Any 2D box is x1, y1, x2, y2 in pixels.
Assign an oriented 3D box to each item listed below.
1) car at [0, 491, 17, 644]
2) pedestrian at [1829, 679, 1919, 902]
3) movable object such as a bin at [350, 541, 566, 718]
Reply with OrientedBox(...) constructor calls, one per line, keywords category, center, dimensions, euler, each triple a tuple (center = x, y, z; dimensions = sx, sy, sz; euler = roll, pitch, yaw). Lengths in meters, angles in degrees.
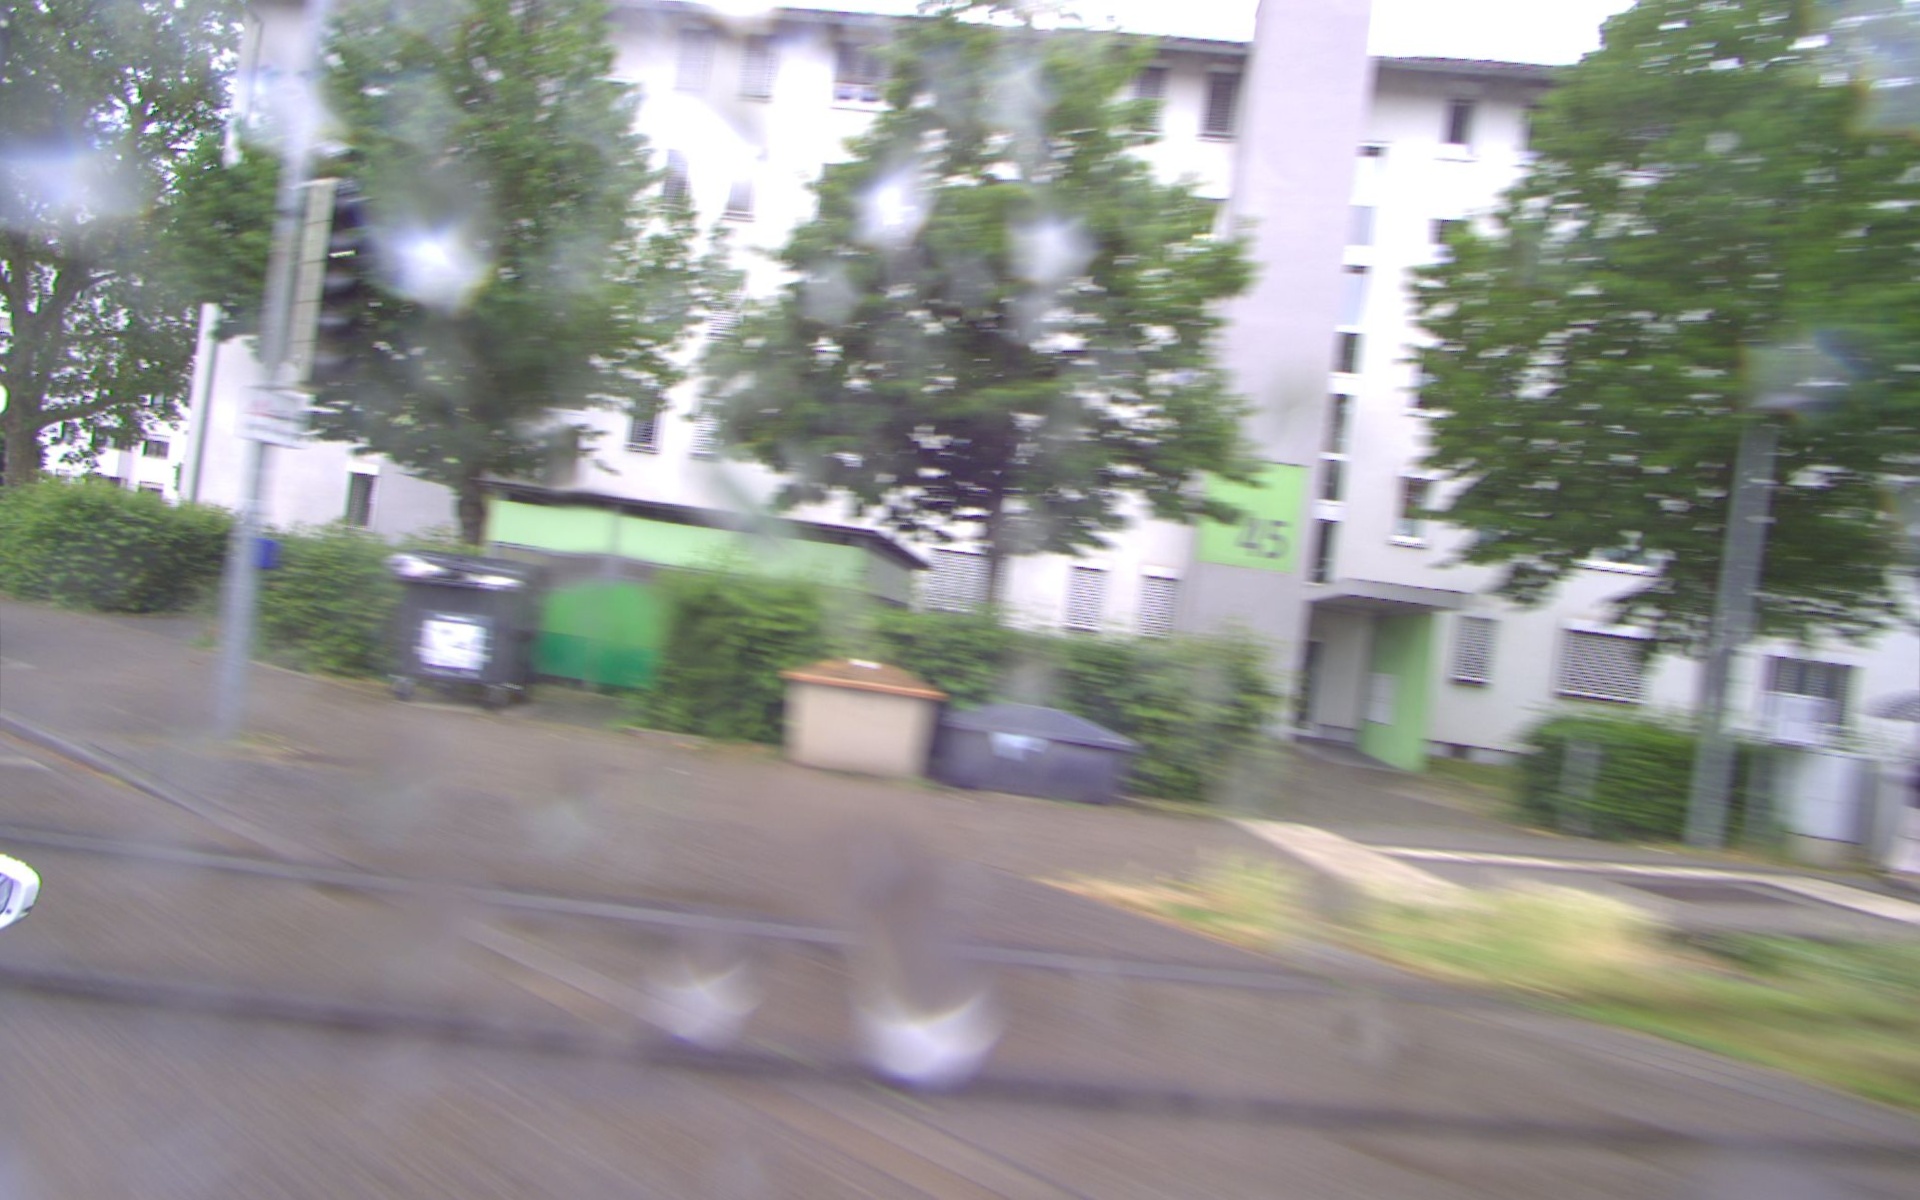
OrientedBox(category="car", center=(-11.115, -0.485, 9.651), dimensions=(4.043, 1.594, 1.903), euler=(7, -1, 31))
OrientedBox(category="pedestrian", center=(8.458, 1.670, 8.718), dimensions=(1.004, 1.796, 0.862), euler=(7, 0, -18))
OrientedBox(category="movable object such as a bin", center=(-4.857, 0.283, 9.874), dimensions=(1.451, 1.458, 1.151), euler=(7, 0, -7))
